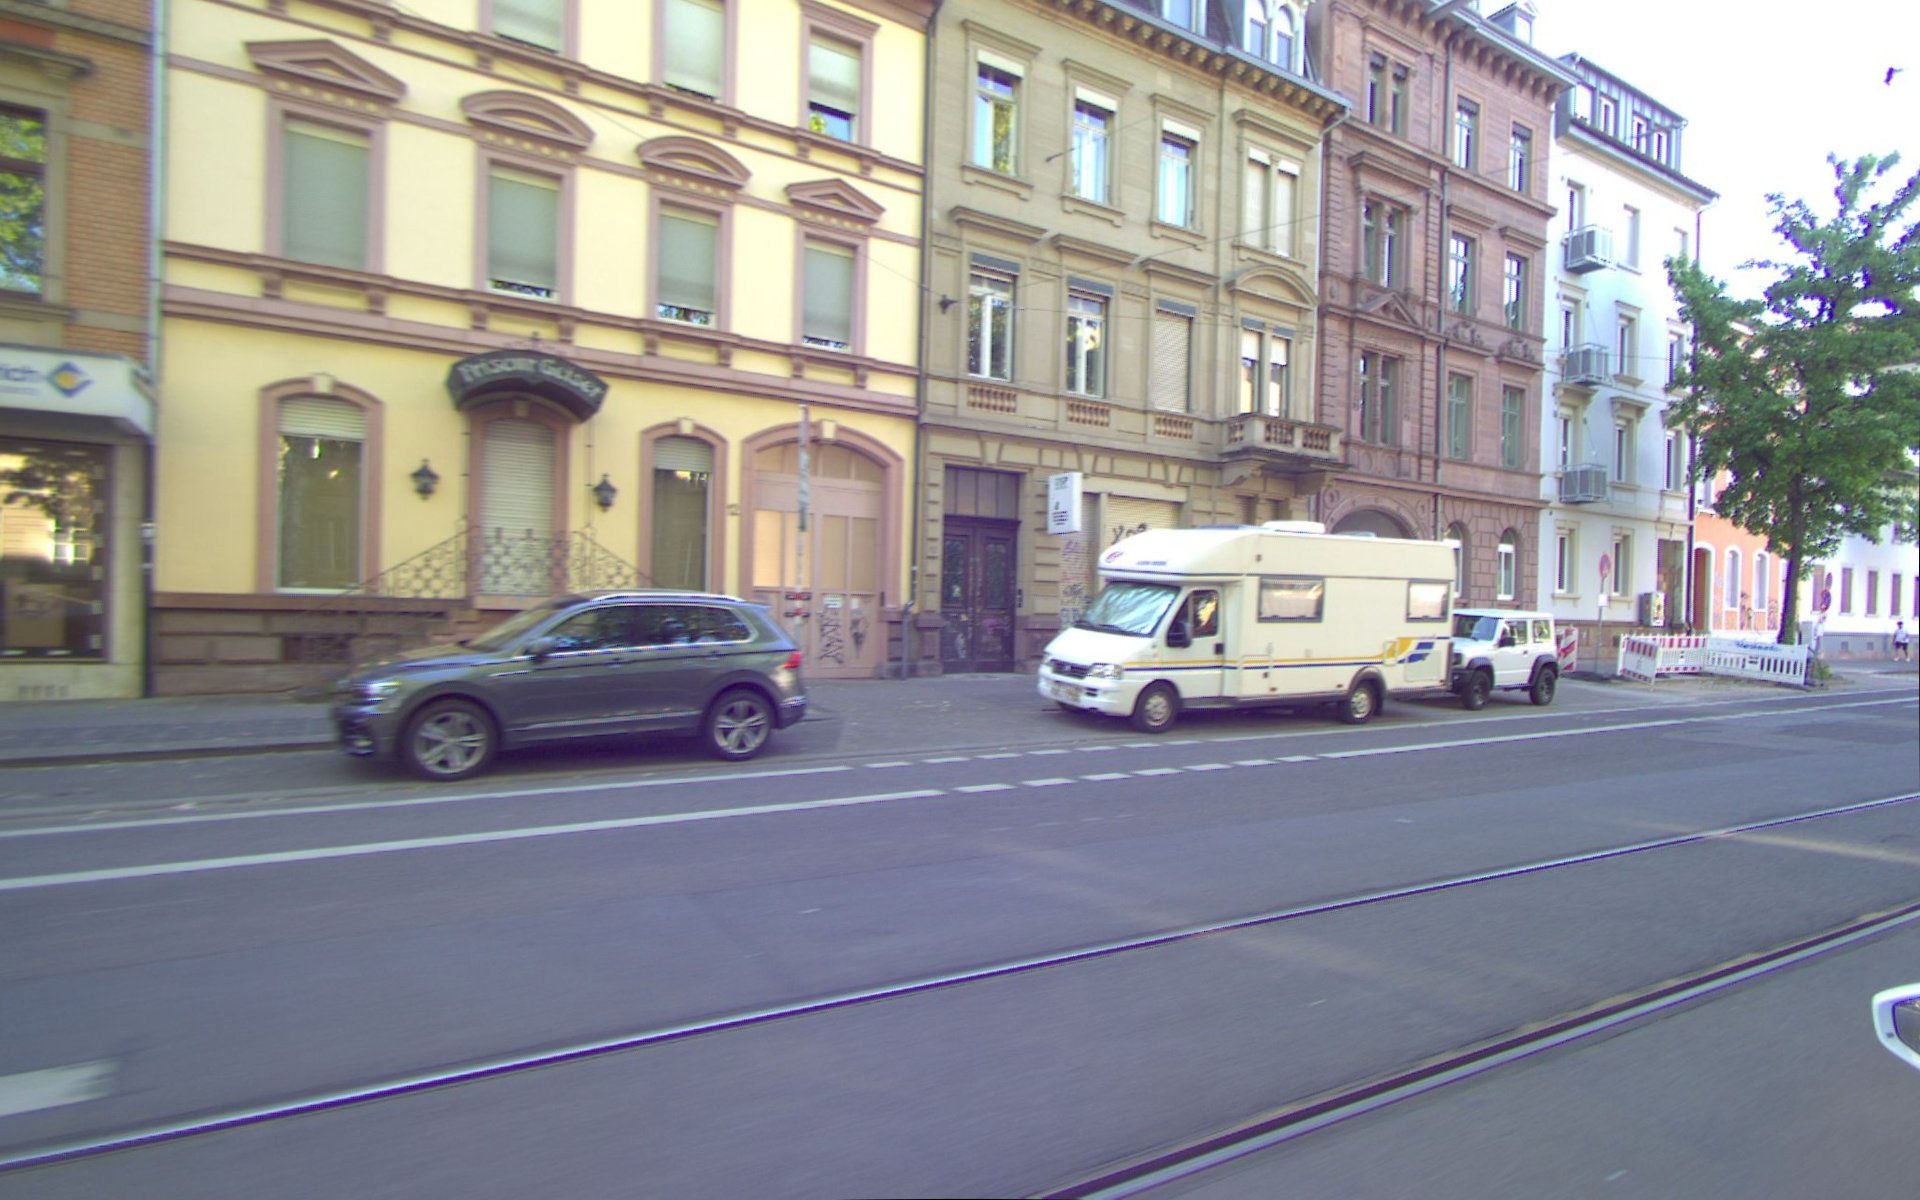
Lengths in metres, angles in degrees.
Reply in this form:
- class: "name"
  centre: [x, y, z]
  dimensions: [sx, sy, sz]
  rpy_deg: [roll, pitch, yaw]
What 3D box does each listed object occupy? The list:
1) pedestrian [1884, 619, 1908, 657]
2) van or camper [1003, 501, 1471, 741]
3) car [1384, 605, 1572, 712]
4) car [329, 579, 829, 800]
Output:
- class: "pedestrian"
  centre: [39.921, 1.621, 42.822]
  dimensions: [0.632, 1.591, 0.590]
  rpy_deg: [1, 0, -32]
- class: "van or camper"
  centre: [4.375, 0.268, 15.315]
  dimensions: [7.164, 2.987, 2.408]
  rpy_deg: [1, 3, -30]
- class: "car"
  centre: [9.652, 1.031, 18.679]
  dimensions: [3.336, 1.729, 1.620]
  rpy_deg: [1, 2, -34]
- class: "car"
  centre: [-3.728, 0.758, 10.116]
  dimensions: [4.394, 1.728, 1.800]
  rpy_deg: [1, 3, -32]
